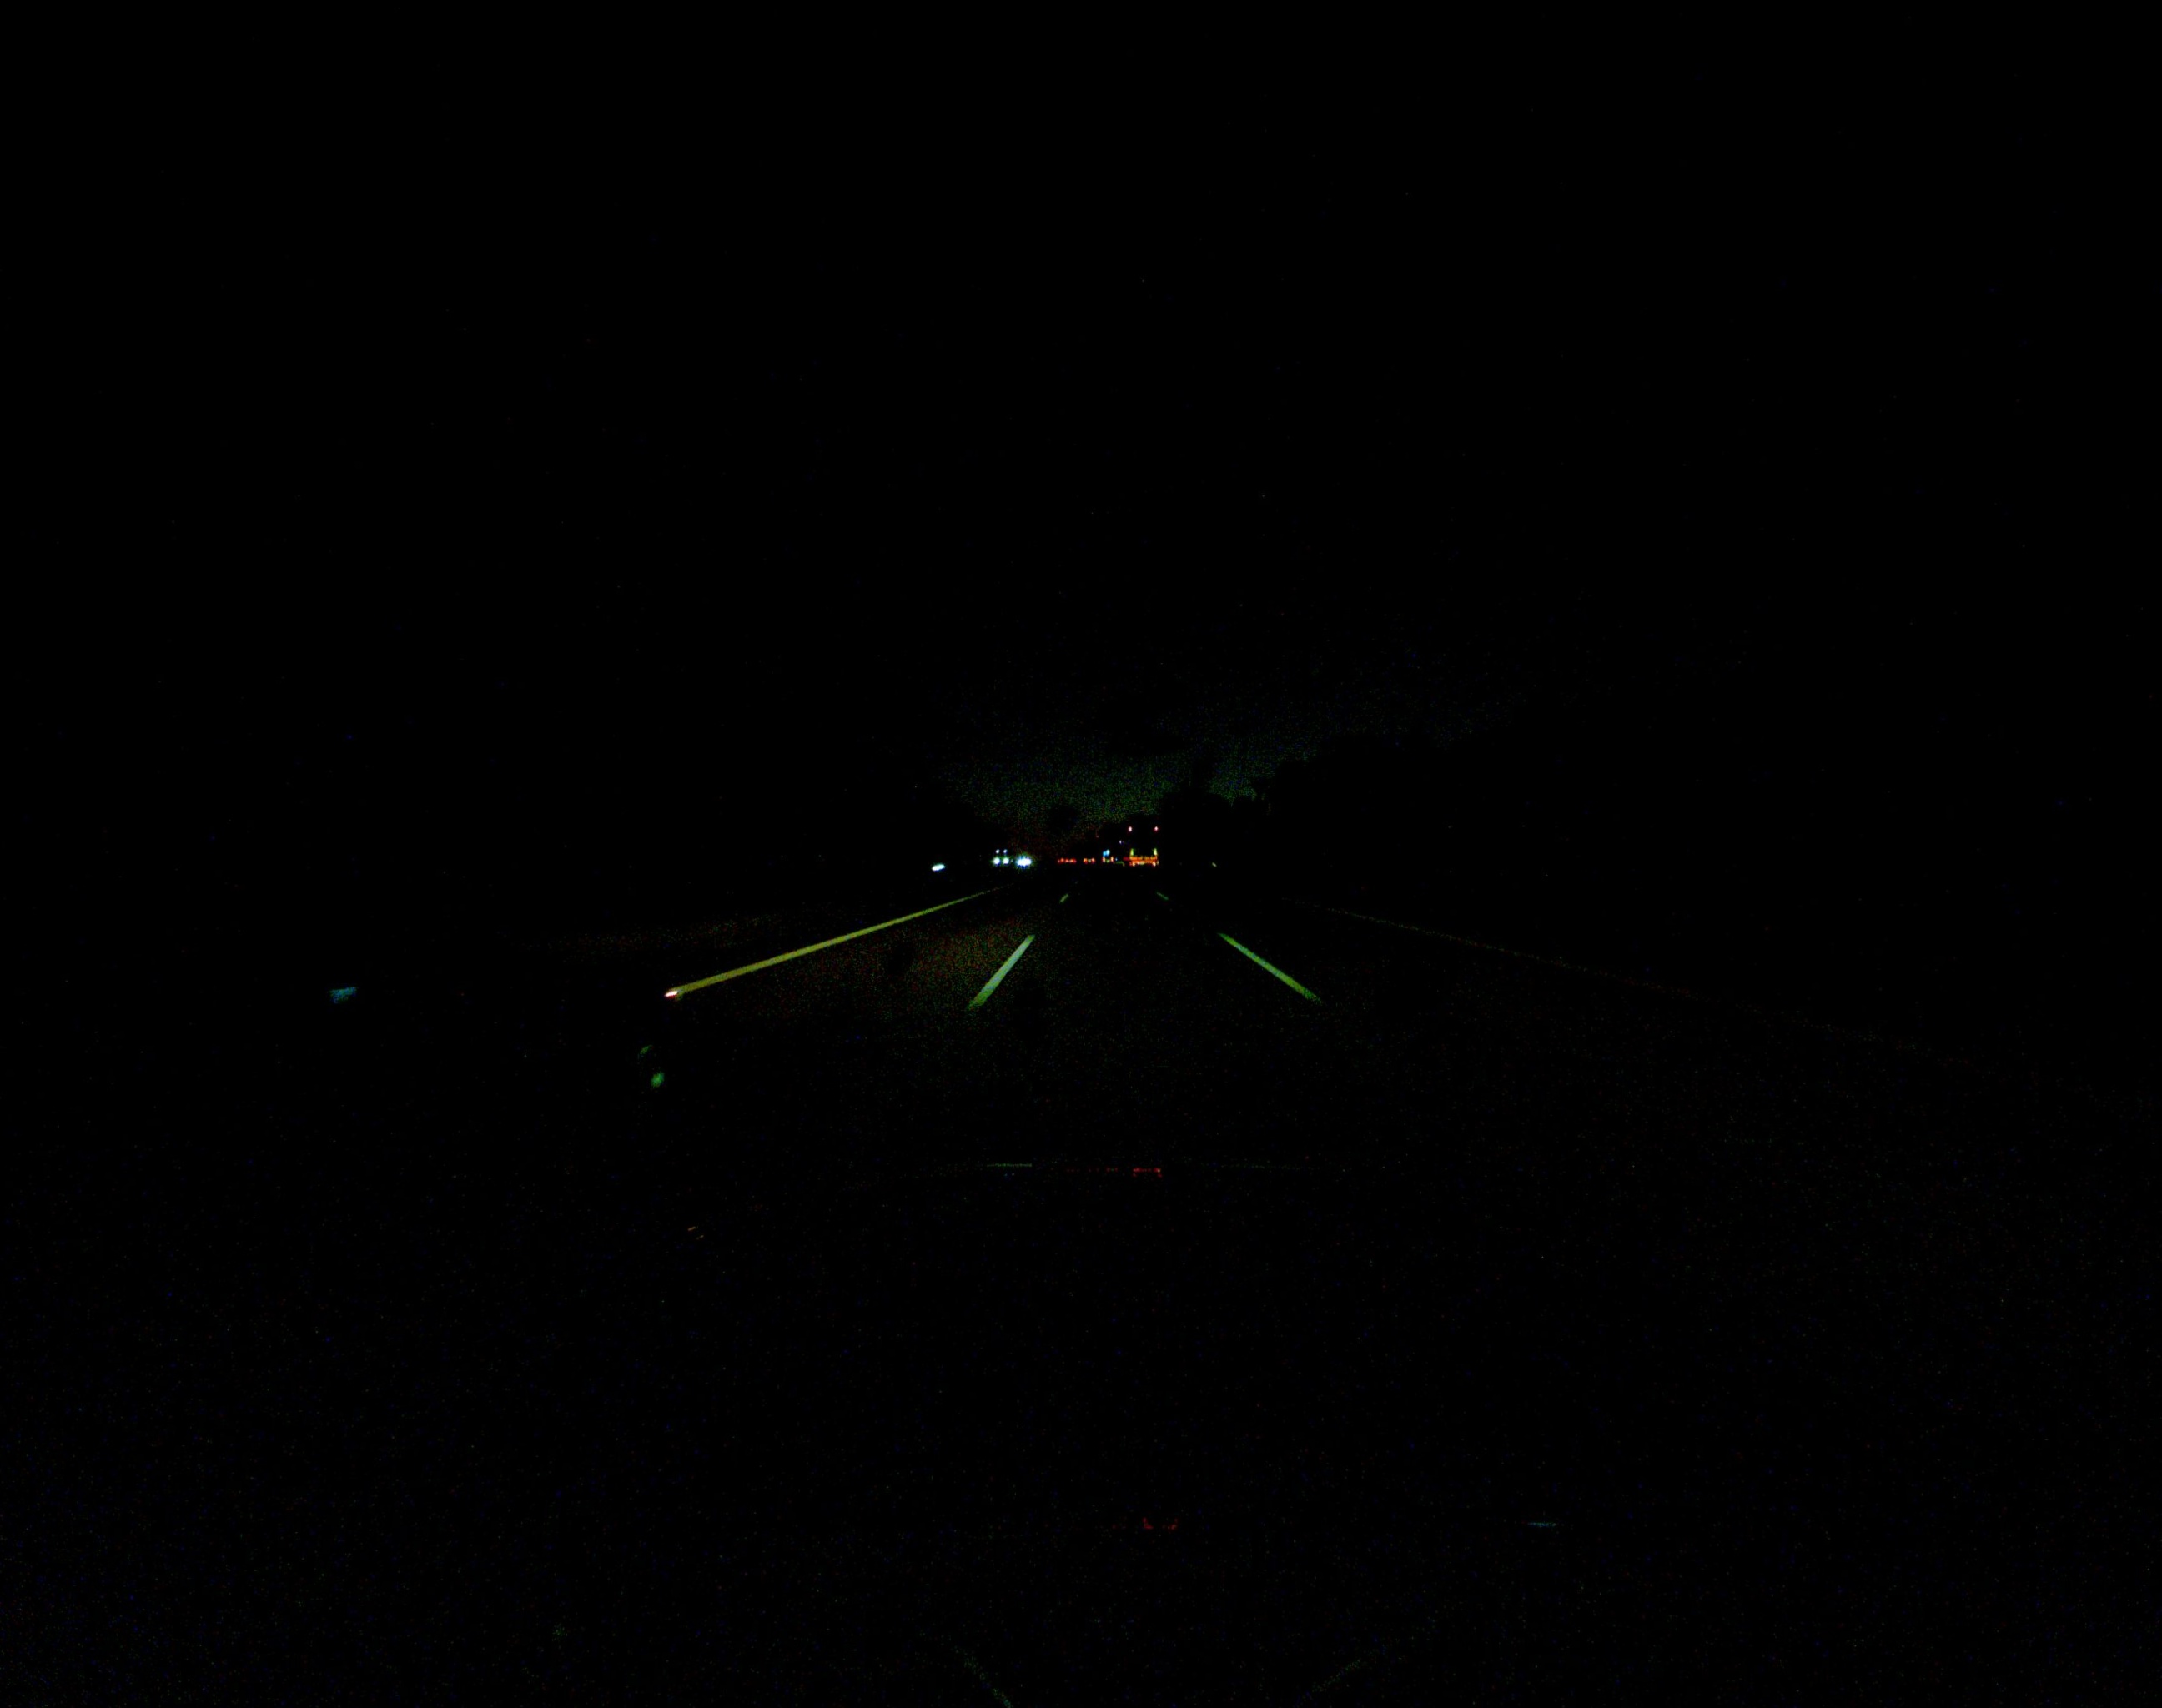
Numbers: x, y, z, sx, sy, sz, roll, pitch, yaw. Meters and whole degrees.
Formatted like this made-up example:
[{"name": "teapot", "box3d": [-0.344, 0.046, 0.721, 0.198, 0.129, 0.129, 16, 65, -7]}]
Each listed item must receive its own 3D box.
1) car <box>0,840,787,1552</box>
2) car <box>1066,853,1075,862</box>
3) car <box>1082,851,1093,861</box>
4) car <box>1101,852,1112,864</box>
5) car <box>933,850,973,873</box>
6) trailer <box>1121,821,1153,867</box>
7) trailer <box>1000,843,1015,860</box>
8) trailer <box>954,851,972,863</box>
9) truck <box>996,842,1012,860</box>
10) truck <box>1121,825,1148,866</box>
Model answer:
[{"name": "car", "box3d": [-3.279, 0.730, 3.140, 1.985, 1.518, 5.655, 0, 1, 3]}, {"name": "car", "box3d": [-2.278, 0.794, 183.495, 1.987, 1.794, 3.998, -1, -1, -1]}, {"name": "car", "box3d": [1.186, 0.417, 147.583, 1.987, 1.794, 3.999, -1, -1, 0]}, {"name": "car", "box3d": [5.012, 0.777, 158.442, 1.987, 2.117, 3.998, -1, -1, -1]}, {"name": "car", "box3d": [-10.017, 0.543, 64.169, 2.236, 1.719, 4.888, -1, 0, 1]}, {"name": "trailer", "box3d": [5.535, -0.909, 83.477, 2.818, 4.256, 17.059, -1, 0, 3]}, {"name": "trailer", "box3d": [-17.891, -0.651, 198.483, 2.851, 4.071, 8.869, -1, 0, 0]}, {"name": "trailer", "box3d": [-17.193, 0.456, 118.935, 1.890, 1.746, 3.845, -1, 0, 1]}, {"name": "truck", "box3d": [-17.831, -0.617, 188.730, 2.851, 4.071, 10.632, -1, 0, 0]}, {"name": "truck", "box3d": [5.777, -0.906, 88.936, 2.818, 4.256, 6.266, -1, 0, 2]}]
